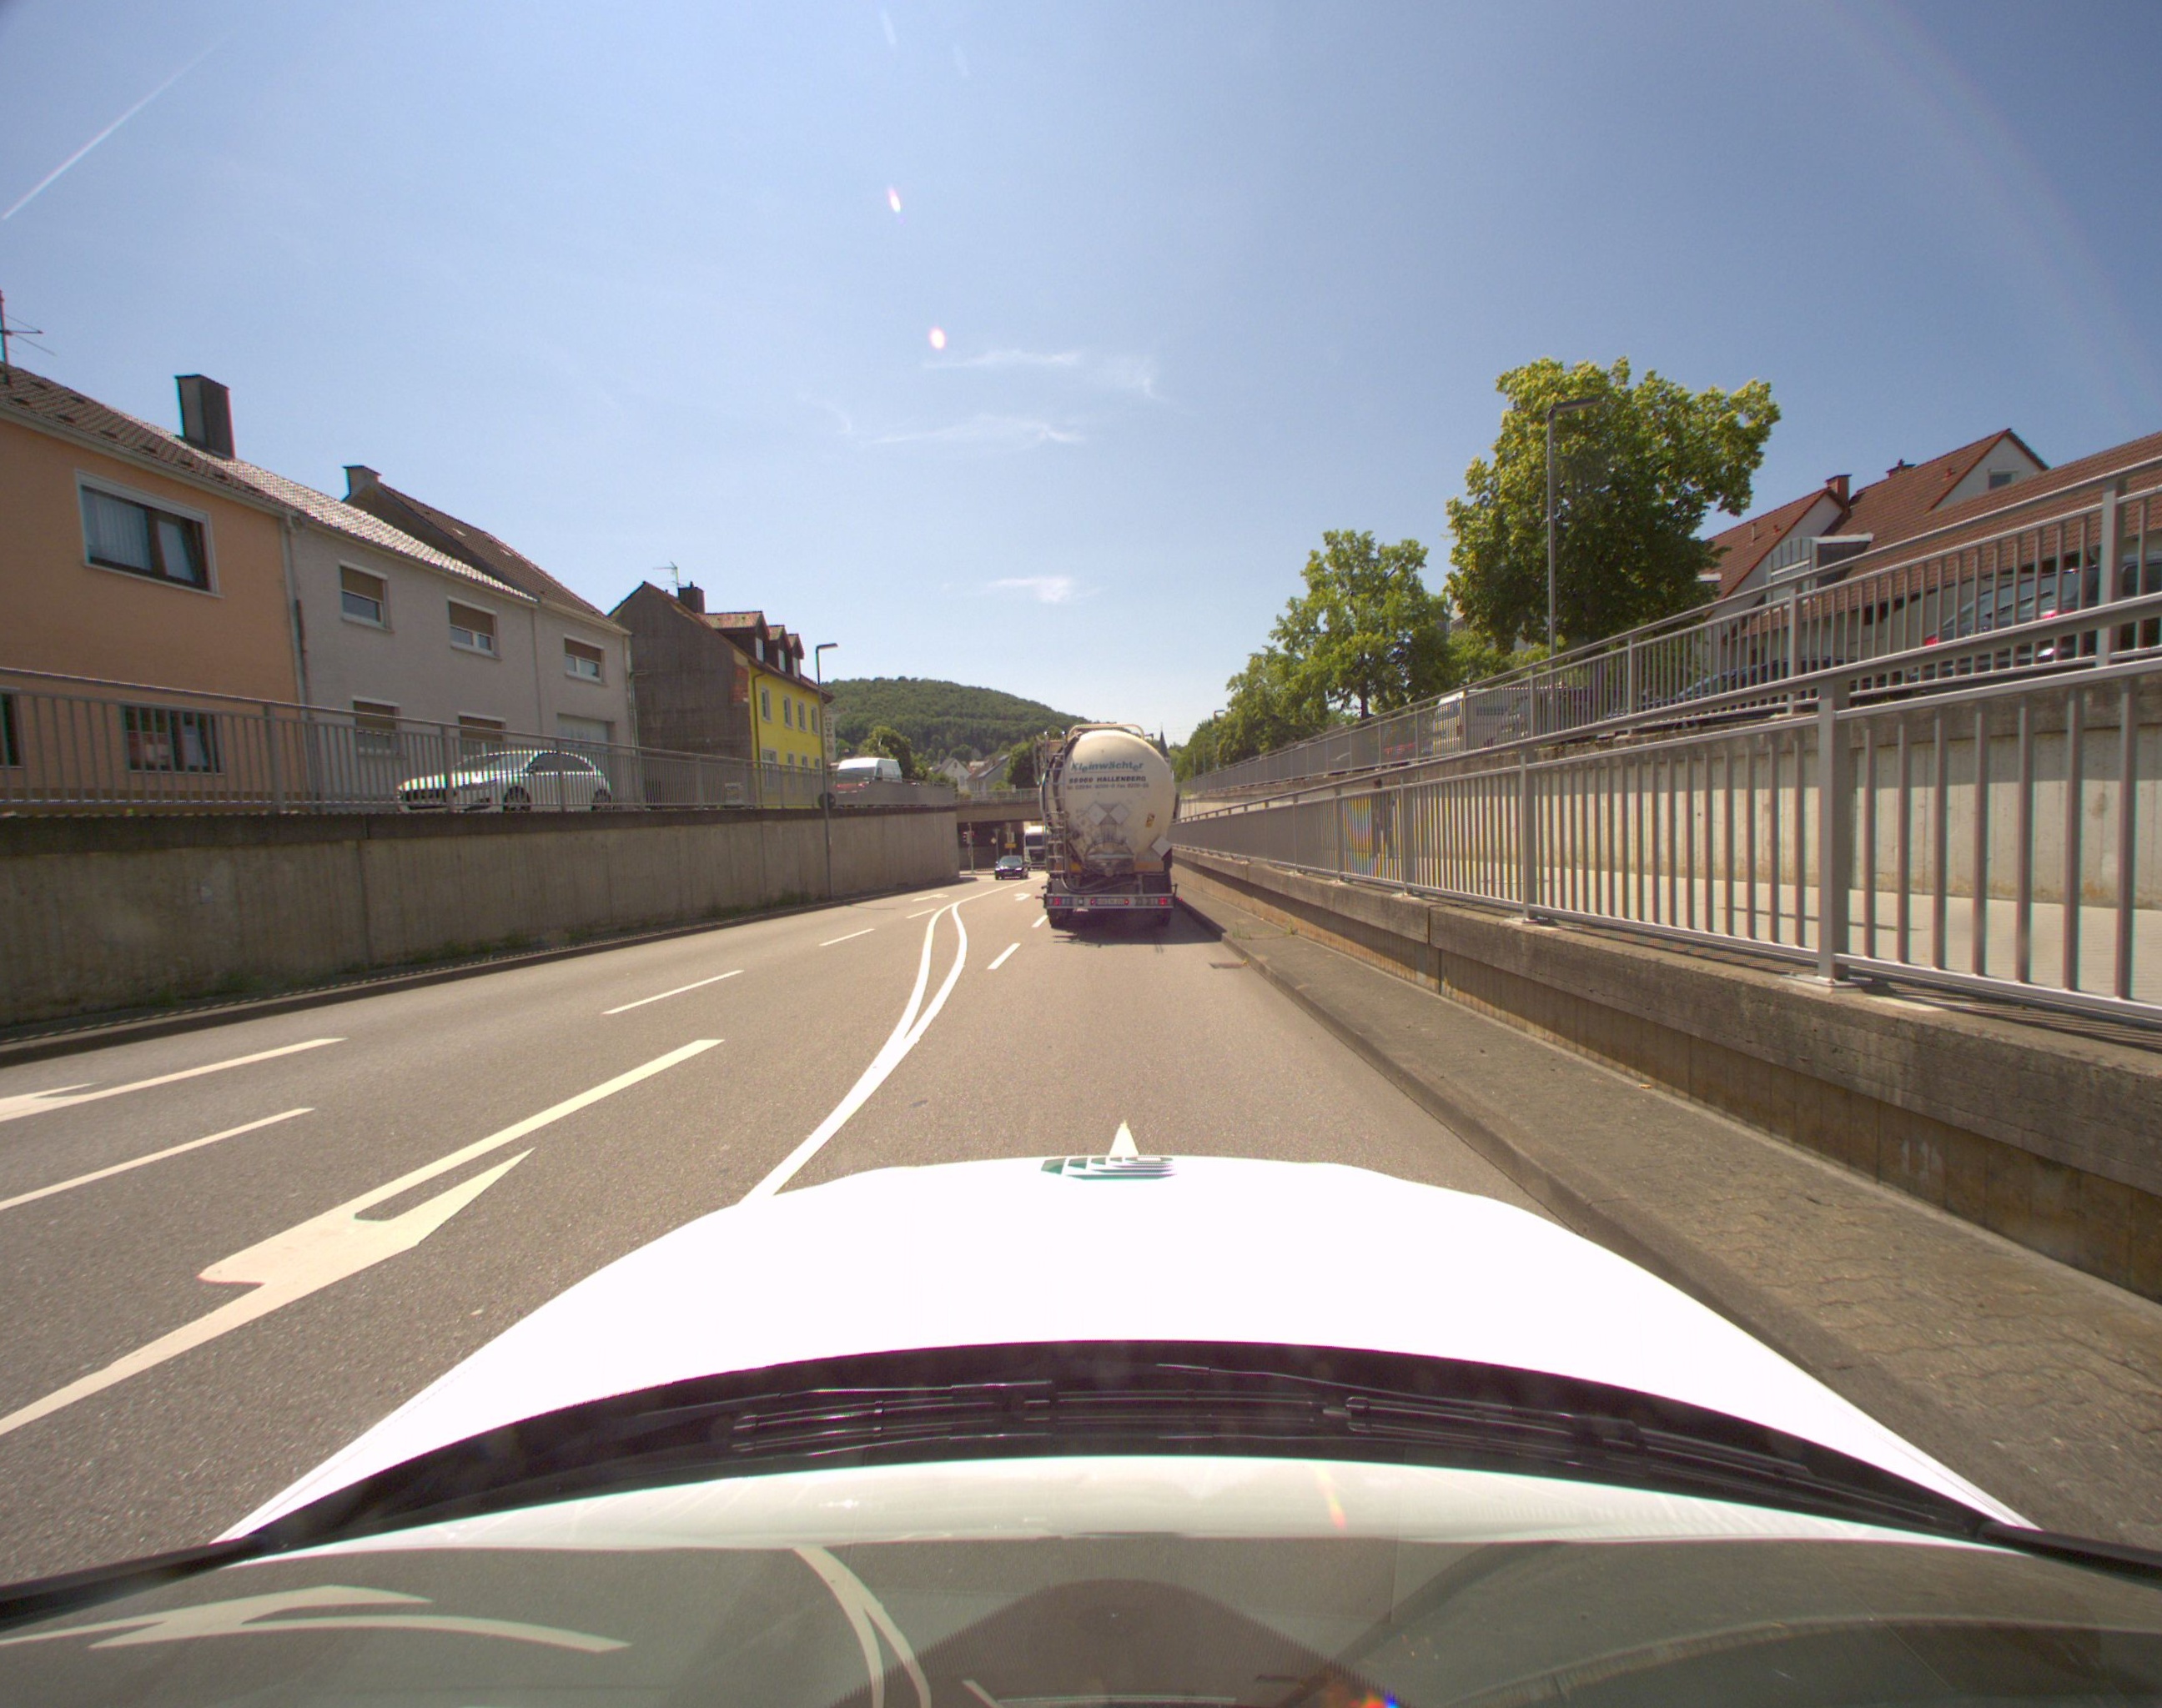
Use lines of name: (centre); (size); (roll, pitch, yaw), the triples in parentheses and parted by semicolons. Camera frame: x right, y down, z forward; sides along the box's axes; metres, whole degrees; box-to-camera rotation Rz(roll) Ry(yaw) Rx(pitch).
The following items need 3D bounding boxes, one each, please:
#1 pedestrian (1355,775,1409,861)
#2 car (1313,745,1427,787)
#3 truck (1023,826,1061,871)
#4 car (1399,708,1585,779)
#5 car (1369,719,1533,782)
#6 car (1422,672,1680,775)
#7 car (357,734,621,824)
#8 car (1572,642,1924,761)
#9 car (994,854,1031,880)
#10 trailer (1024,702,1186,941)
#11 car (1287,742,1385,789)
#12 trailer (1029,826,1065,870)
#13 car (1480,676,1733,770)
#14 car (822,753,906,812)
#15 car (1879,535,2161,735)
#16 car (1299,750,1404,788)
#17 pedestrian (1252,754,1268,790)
pedestrian: (6.457, -0.765, 17.522); (0.833, 1.781, 0.789); (-2, 1, 2)
car: (11.265, -3.429, 31.920); (3.889, 1.367, 1.688); (-2, 3, 3)
truck: (-3.469, -0.477, 73.728); (2.651, 3.860, 6.584); (-1, 0, 3)
car: (11.010, -2.947, 22.025); (4.187, 1.595, 1.688); (-2, 3, 3)
car: (11.114, -3.102, 24.628); (4.187, 1.595, 1.688); (-2, 3, 3)
car: (11.255, -3.096, 19.781); (5.091, 2.063, 1.991); (-2, 3, 3)
car: (-10.943, -1.363, 15.540); (1.807, 1.462, 4.310); (-1, 3, 0)
car: (10.685, -2.416, 13.301); (4.268, 1.498, 1.750); (-2, 3, 3)
car: (-4.272, 0.794, 51.587); (1.753, 1.489, 4.371); (-1, 0, 3)
trailer: (0.780, -0.574, 20.693); (2.723, 4.064, 13.324); (-1, 0, 3)
car: (11.472, -3.962, 36.791); (3.889, 1.884, 1.688); (-2, 3, 3)
trailer: (-3.176, -0.534, 79.217); (2.599, 3.964, 9.353); (-1, 0, 3)
car: (10.870, -2.683, 17.058); (4.187, 1.595, 1.688); (-2, 3, 3)
car: (-9.979, -3.238, 37.979); (2.057, 2.535, 5.668); (-1, 3, 3)
car: (10.536, -2.059, 7.737); (4.187, 1.498, 1.688); (-2, 3, 3)
car: (11.352, -3.568, 34.359); (3.889, 1.367, 1.688); (-2, 3, 3)
pedestrian: (9.156, -4.173, 41.648); (0.670, 1.779, 0.595); (-2, 2, 3)
